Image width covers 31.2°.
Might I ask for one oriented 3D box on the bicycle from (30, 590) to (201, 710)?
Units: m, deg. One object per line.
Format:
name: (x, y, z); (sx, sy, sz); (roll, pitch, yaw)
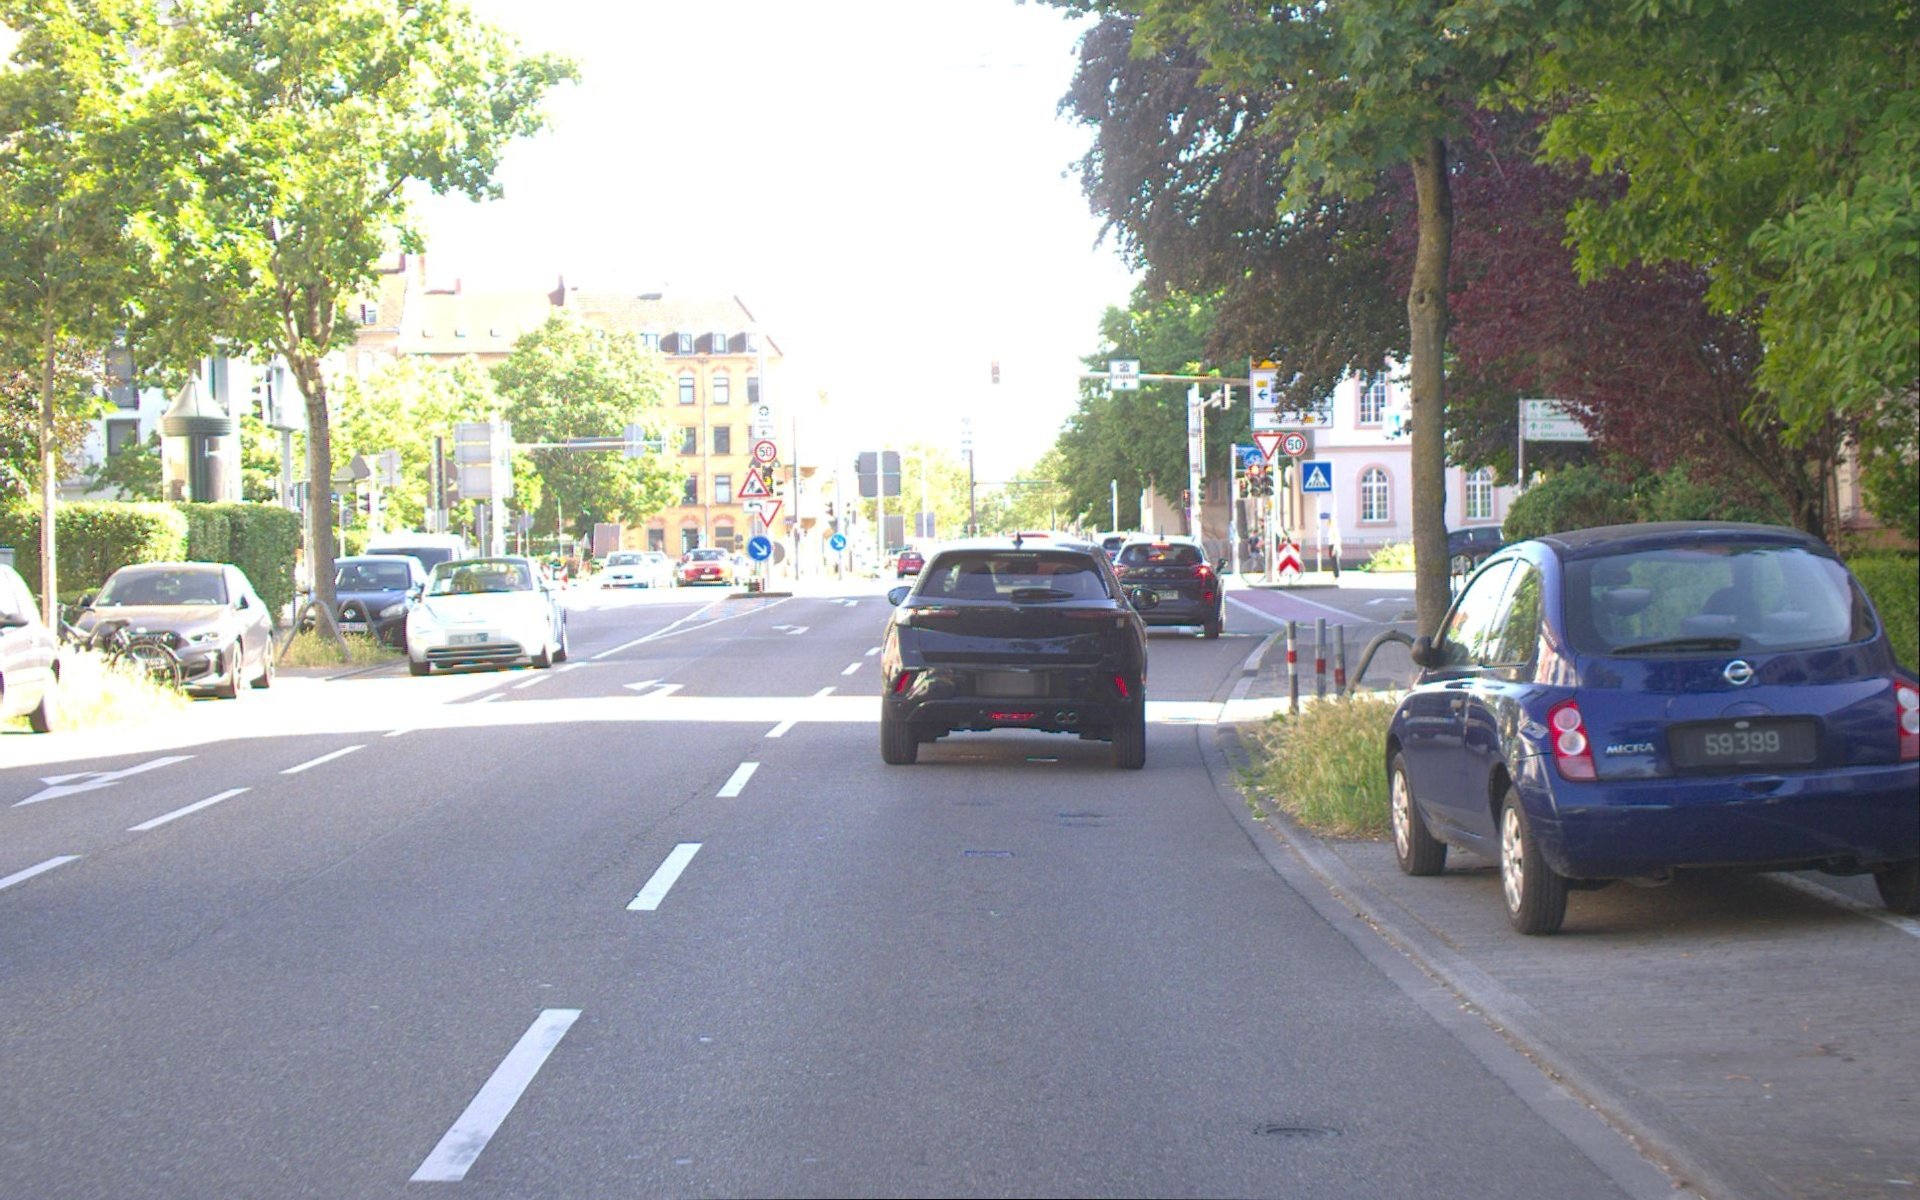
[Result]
bicycle: (-8.428, 0.497, 34.341); (1.543, 1.130, 0.548); (-2, 1, -2)

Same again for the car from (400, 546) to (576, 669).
car: (-5.917, 0.065, 43.464); (1.737, 1.377, 3.937); (-2, 1, -2)

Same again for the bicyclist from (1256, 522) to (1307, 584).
bicyclist: (8.527, -1.247, 91.155); (1.164, 1.628, 0.729); (0, 1, -17)

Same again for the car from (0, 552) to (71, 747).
car: (-8.598, 0.379, 28.608); (1.675, 1.520, 3.659); (1, 1, -4)

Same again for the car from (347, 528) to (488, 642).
car: (-9.065, -0.280, 57.736); (1.818, 1.827, 4.563); (-1, 1, -3)

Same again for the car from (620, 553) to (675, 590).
car: (-12.879, -1.185, 141.861); (1.874, 1.443, 4.000); (-1, 1, -1)

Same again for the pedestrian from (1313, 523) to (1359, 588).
pedestrian: (9.789, -1.155, 89.474); (1.040, 1.654, 0.784); (-1, 1, -3)

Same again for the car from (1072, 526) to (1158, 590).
car: (3.645, -1.001, 81.369); (1.830, 1.447, 3.988); (-1, 1, 0)

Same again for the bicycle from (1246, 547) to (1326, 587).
bicycle: (8.640, -0.882, 91.193); (2.031, 1.057, 0.622); (0, 1, -17)

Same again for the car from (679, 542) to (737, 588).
car: (-9.252, -1.313, 126.378); (1.791, 1.611, 4.000); (-1, 1, 0)

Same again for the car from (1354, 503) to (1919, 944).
car: (2.735, 0.411, 14.211); (1.559, 1.510, 3.655); (-3, 1, -3)

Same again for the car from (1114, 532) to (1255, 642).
car: (3.361, -0.226, 52.072); (1.830, 1.573, 3.839); (-1, 1, 0)

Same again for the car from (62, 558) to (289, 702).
car: (-8.476, 0.278, 37.464); (1.767, 1.403, 4.367); (0, 1, -4)

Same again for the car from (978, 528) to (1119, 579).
car: (2.674, -1.404, 103.684); (3.879, 1.447, 1.774); (0, 1, 32)

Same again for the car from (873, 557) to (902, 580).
car: (-4.782, -2.107, 227.229); (1.874, 1.443, 4.000); (-1, 1, -1)

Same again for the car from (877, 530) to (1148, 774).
car: (0.312, 0.309, 24.077); (1.745, 1.568, 3.558); (0, 1, -1)

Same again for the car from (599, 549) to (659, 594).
car: (-12.314, -1.087, 128.169); (1.874, 1.611, 4.000); (-1, 1, -1)

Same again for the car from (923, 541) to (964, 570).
car: (-0.988, -2.638, 203.798); (2.175, 1.692, 4.001); (-1, 1, -3)

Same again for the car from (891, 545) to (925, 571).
car: (-2.876, -2.326, 190.379); (1.810, 1.402, 4.000); (-1, 1, 0)

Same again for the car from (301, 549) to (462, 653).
car: (-8.528, -0.015, 50.945); (1.671, 1.451, 4.111); (-1, 1, 0)

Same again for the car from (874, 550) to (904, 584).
car: (-4.525, -2.122, 218.703); (1.810, 2.127, 4.000); (-1, 1, -1)
